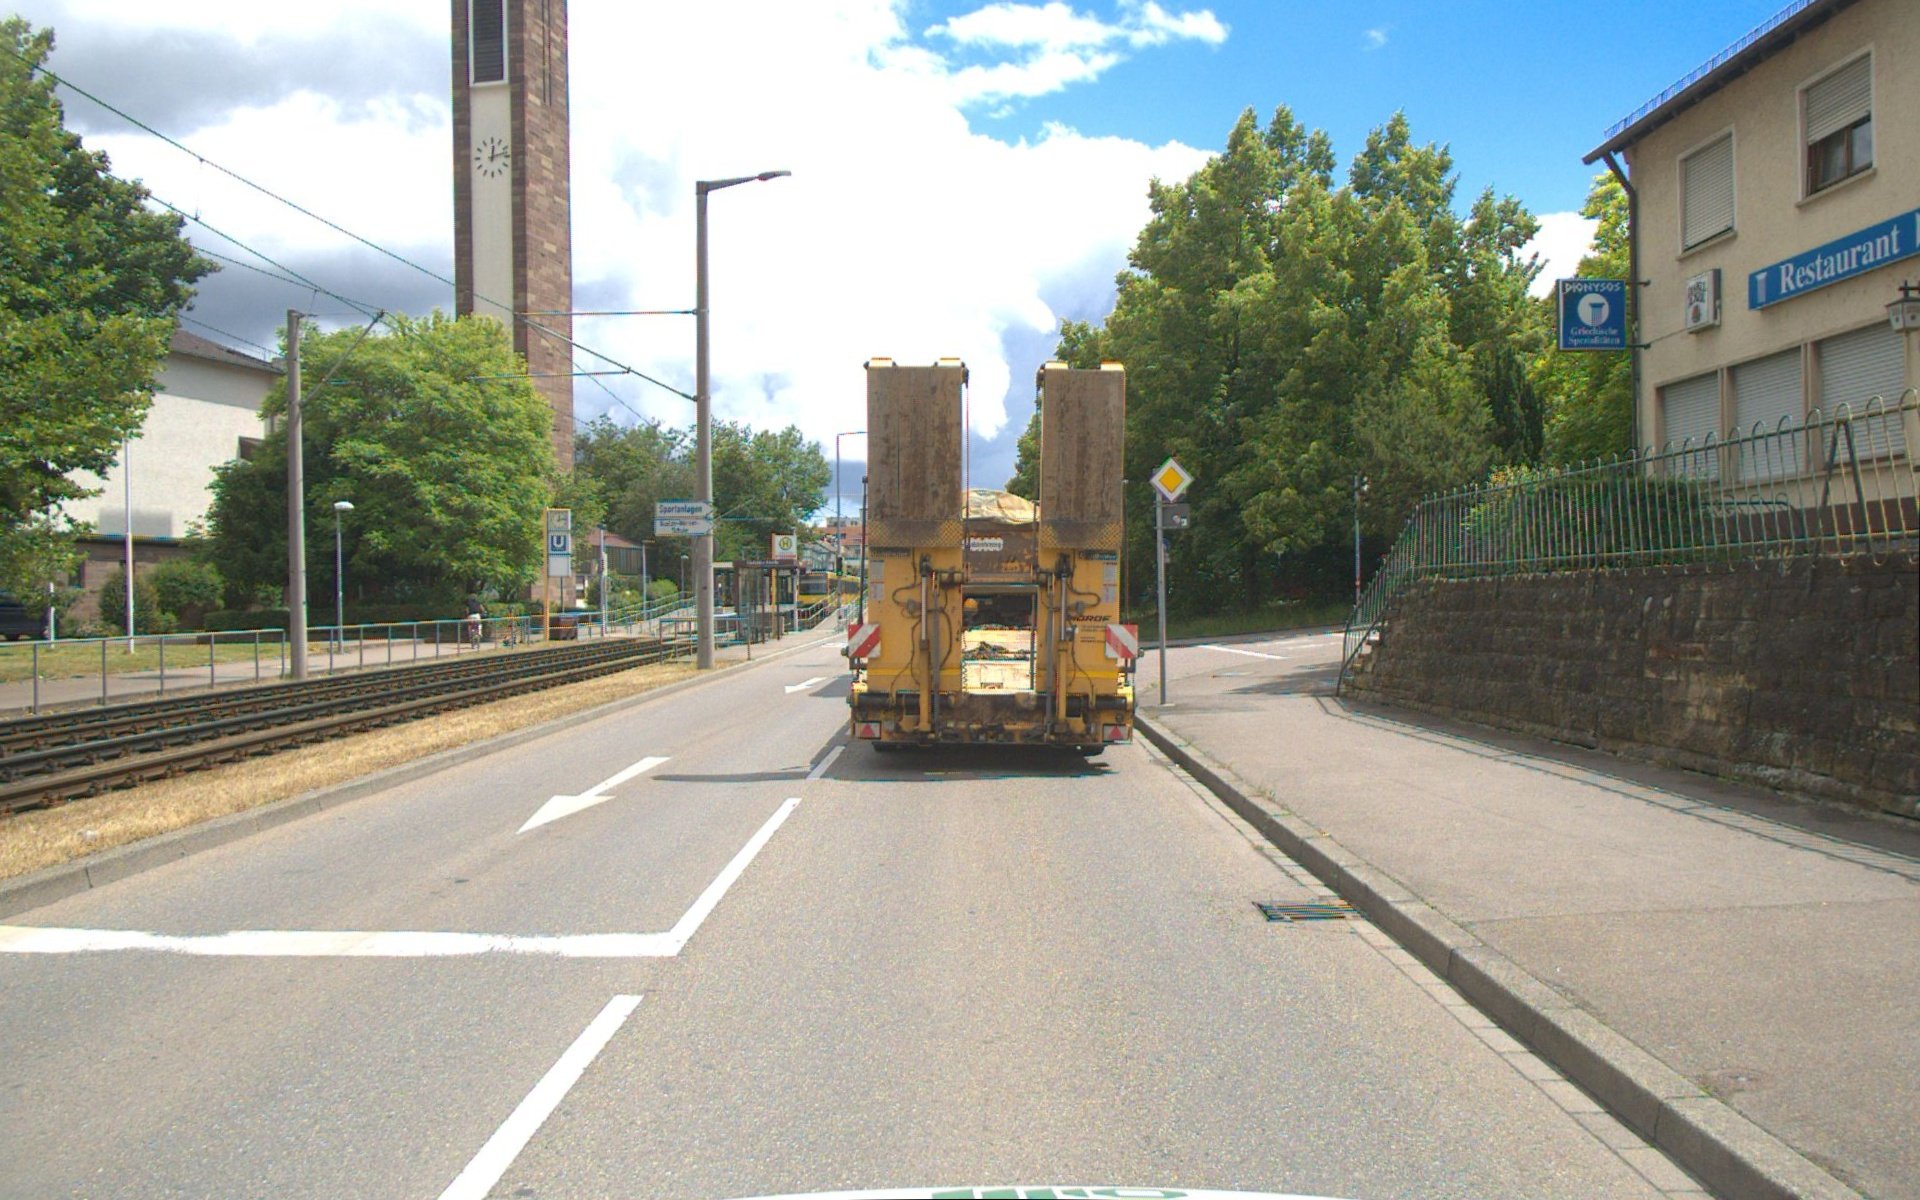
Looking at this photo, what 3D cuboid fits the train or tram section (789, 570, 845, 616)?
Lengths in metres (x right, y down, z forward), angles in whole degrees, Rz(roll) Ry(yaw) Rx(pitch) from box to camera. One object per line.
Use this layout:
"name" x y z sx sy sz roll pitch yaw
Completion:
"train or tram section" -11.768 -0.528 138.297 3.044 3.525 18.824 1 0 0

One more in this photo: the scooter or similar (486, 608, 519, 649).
"scooter or similar" -14.530 0.909 52.579 0.636 1.258 1.401 1 1 0

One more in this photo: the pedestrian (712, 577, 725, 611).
"pedestrian" -14.764 -0.384 101.084 0.697 2.049 0.731 1 0 -2

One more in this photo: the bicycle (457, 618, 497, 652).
"bicycle" -14.838 1.072 50.834 0.624 1.011 1.928 1 0 0

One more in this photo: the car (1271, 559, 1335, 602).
"car" 13.150 -0.730 63.510 1.627 1.526 3.662 -3 0 0

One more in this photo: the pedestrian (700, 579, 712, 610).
"pedestrian" -14.778 -0.325 96.160 0.572 1.809 0.576 1 0 0

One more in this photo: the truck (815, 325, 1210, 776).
"truck" 0.176 -0.418 20.888 3.334 3.798 13.731 0 0 -2

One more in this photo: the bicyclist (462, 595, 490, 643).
"bicyclist" -14.835 0.567 50.705 0.620 1.454 0.790 1 0 0

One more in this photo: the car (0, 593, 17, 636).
"car" -37.369 0.524 60.891 1.952 1.601 4.479 1 0 18
